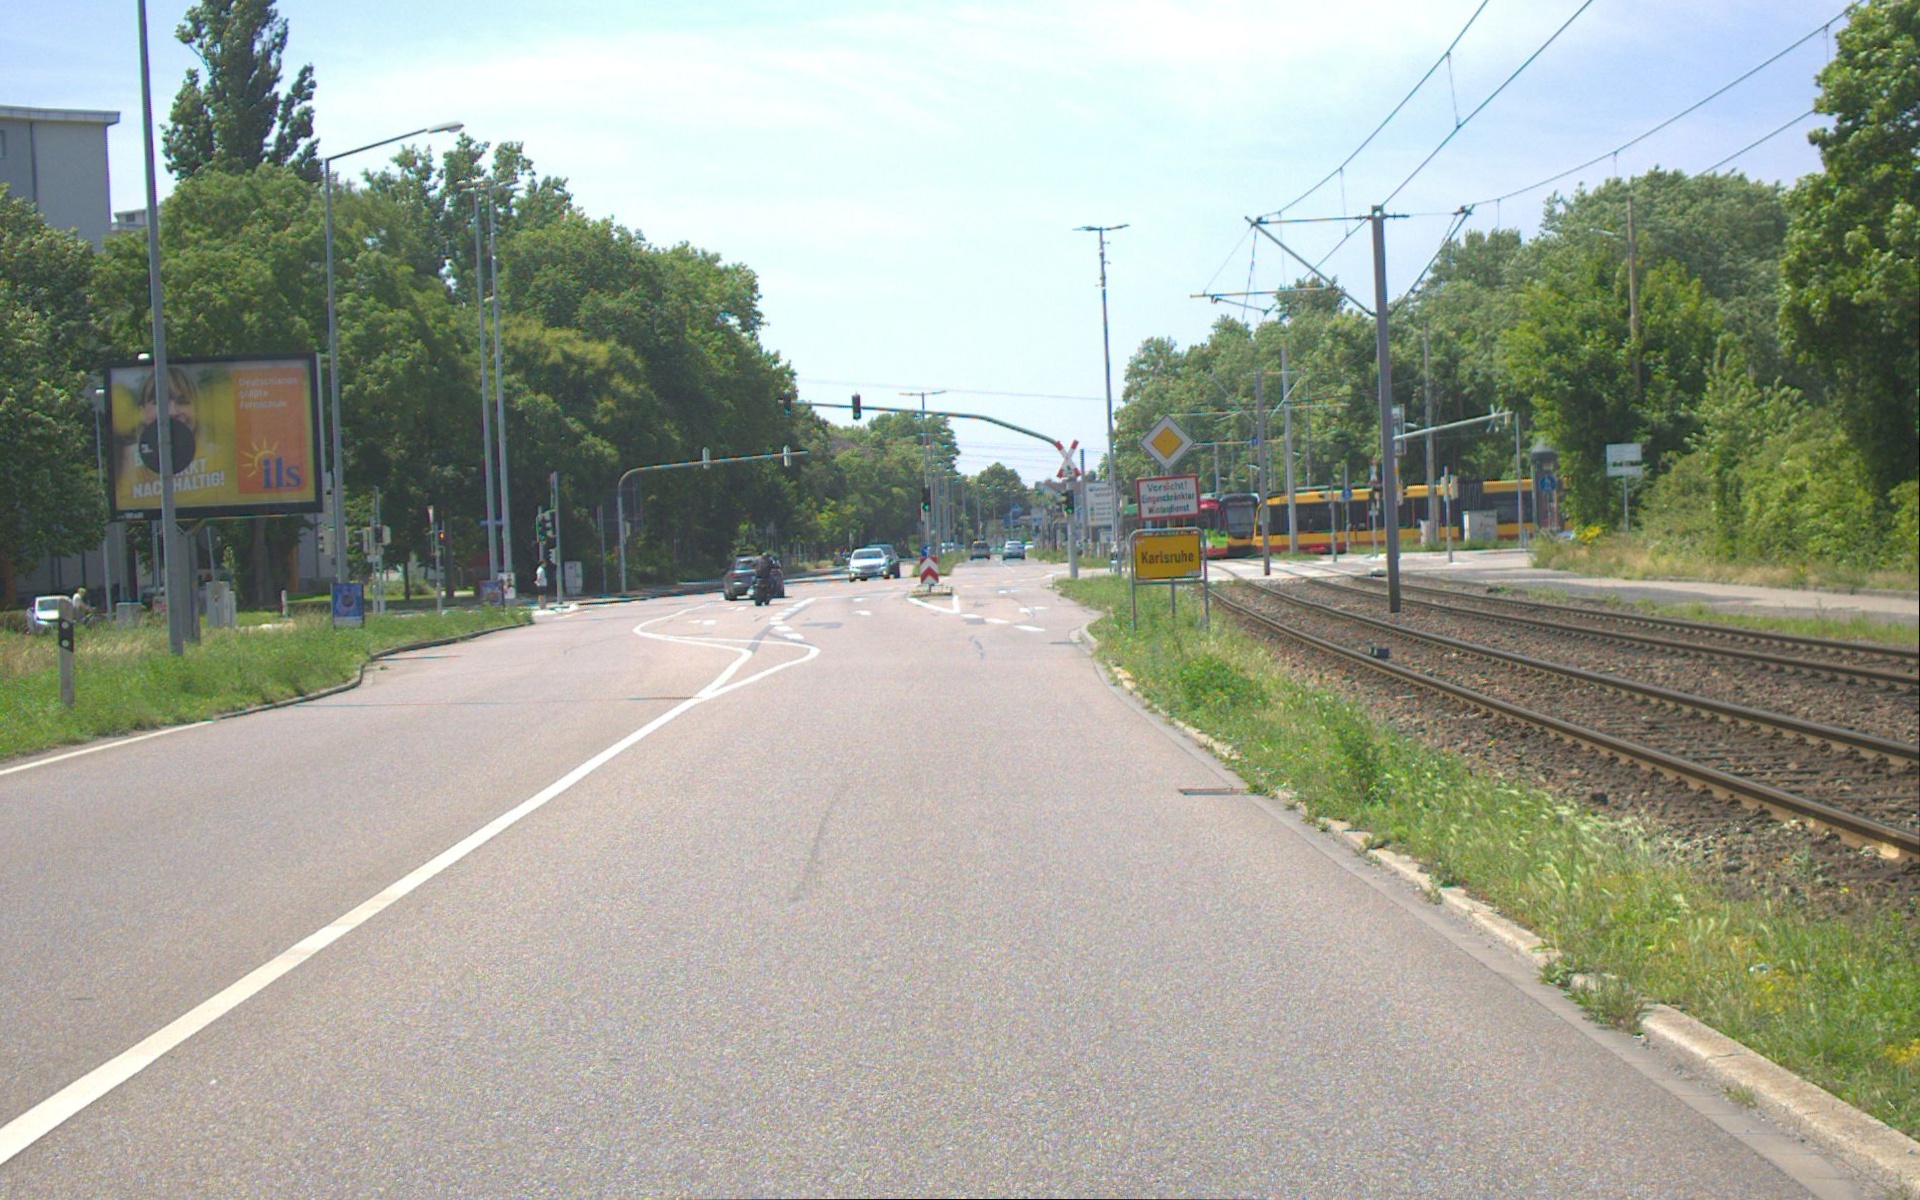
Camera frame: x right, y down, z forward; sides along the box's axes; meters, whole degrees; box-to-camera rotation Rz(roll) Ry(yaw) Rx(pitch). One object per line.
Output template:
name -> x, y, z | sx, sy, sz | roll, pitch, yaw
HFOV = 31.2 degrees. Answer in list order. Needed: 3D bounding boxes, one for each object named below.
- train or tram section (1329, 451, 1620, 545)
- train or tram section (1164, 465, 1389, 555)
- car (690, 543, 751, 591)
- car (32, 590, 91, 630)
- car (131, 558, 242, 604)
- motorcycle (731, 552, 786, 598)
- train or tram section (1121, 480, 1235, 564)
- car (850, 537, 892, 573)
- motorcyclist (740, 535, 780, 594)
train or tram section -> 25.658, -5.043, 171.879 | 14.011, 3.906, 2.920 | -2, -2, 21
train or tram section -> 16.259, -4.565, 178.162 | 2.915, 3.799, 13.450 | 0, -2, -39
car -> -7.866, -1.109, 112.604 | 1.906, 1.493, 4.631 | -2, 1, -5
car -> -32.920, 0.349, 125.868 | 1.623, 1.375, 4.001 | -2, 1, -21
car -> -33.942, -0.843, 150.928 | 1.790, 1.762, 4.538 | -2, 1, 41
motorcycle -> -5.705, -0.728, 97.546 | 0.847, 1.251, 2.447 | -1, 1, 13
train or tram section -> 11.832, -4.173, 187.956 | 2.913, 3.799, 13.076 | -1, -2, -11
car -> -4.079, -2.077, 158.250 | 1.784, 1.623, 3.865 | 0, 1, 1
motorcyclist -> -5.675, -1.016, 97.740 | 0.790, 1.637, 1.210 | -1, 1, 13
